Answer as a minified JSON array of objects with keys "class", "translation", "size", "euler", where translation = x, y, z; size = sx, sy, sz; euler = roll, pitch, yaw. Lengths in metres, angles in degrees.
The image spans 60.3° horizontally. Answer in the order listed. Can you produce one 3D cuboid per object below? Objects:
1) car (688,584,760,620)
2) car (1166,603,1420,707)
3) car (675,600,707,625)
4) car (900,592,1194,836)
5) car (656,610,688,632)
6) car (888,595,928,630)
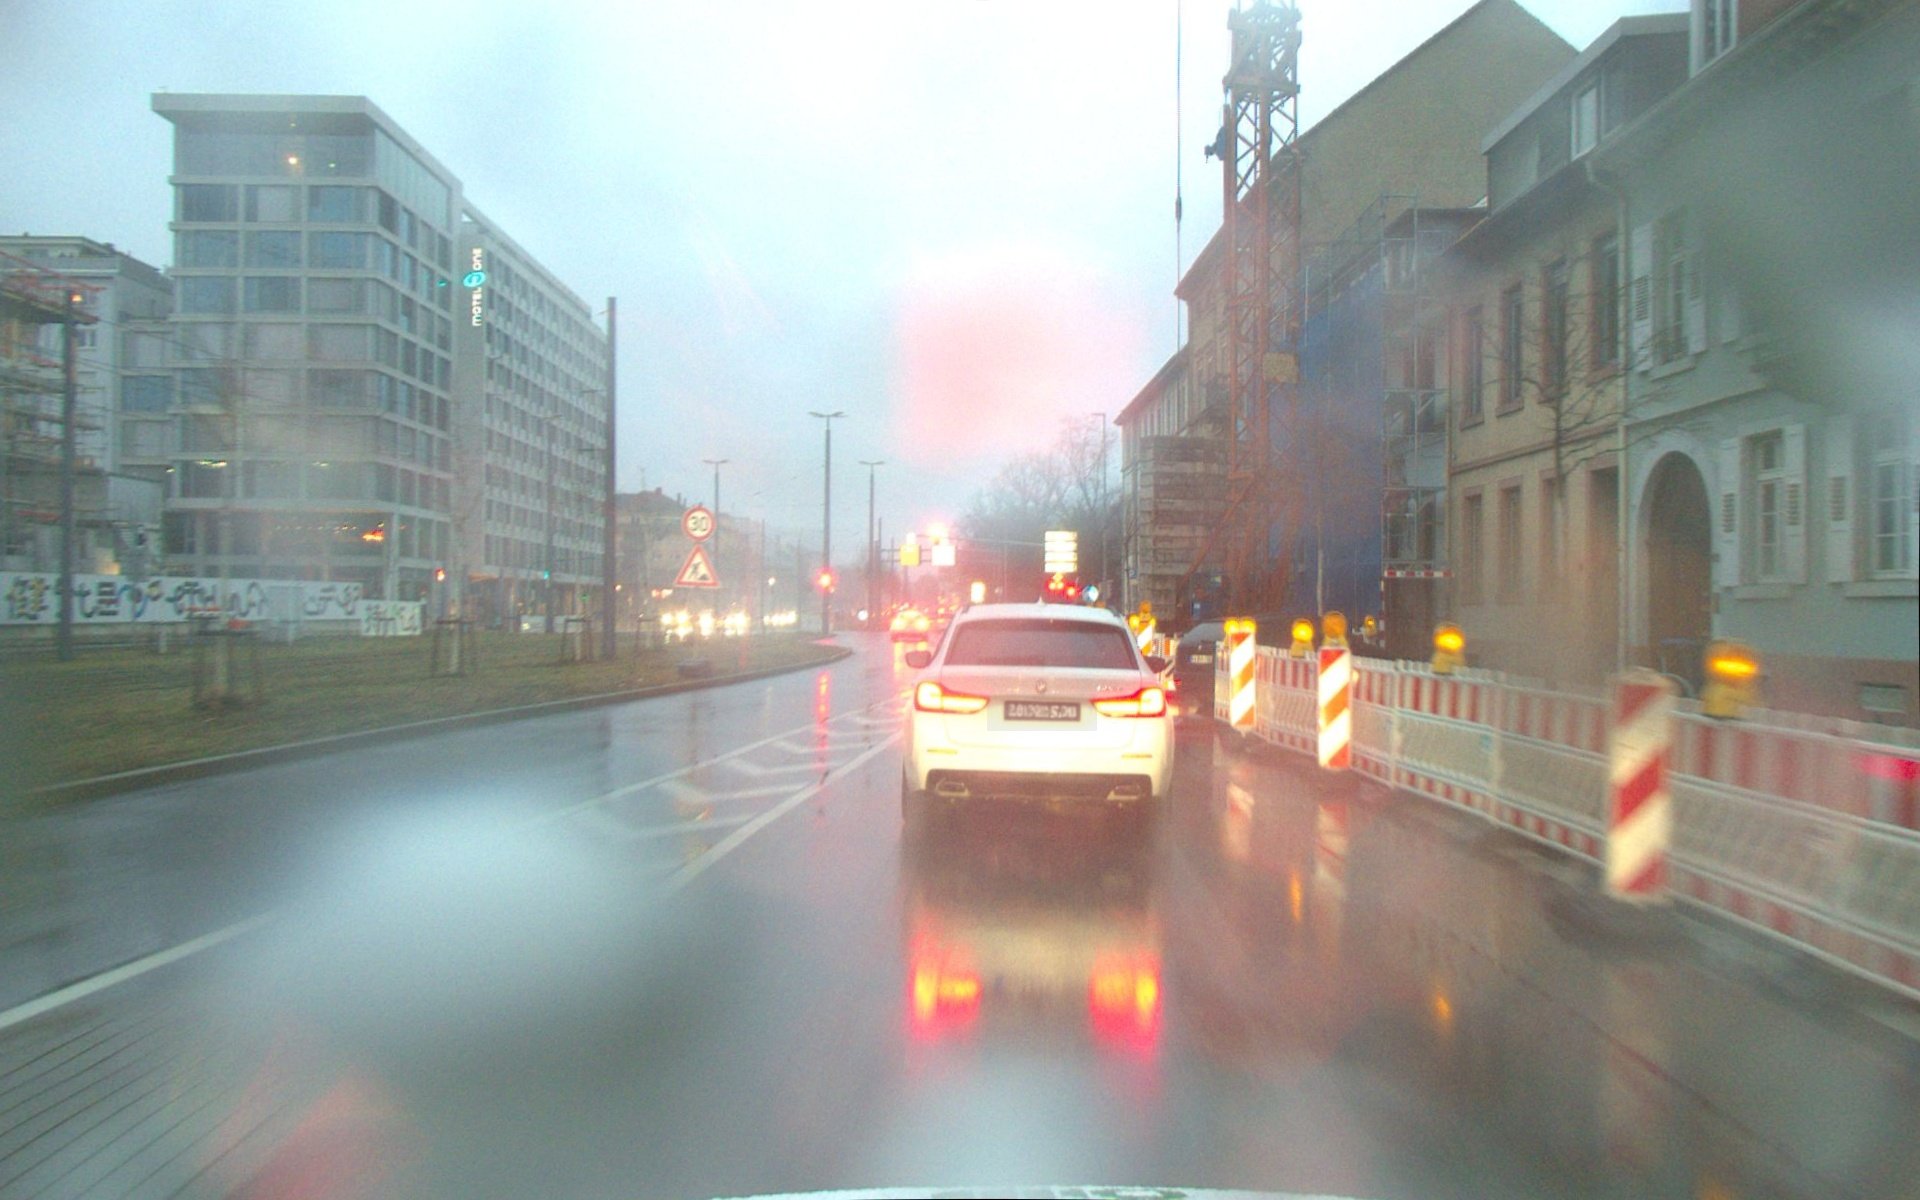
[{"class":"car","translation":[-14.189,0.123,99.316],"size":[3.927,2.010,1.989],"euler":[1,0,-20]},{"class":"car","translation":[5.490,0.880,27.088],"size":[4.051,1.544,1.883],"euler":[1,0,-37]},{"class":"car","translation":[-22.382,1.052,137.655],"size":[1.953,2.049,4.536],"euler":[1,0,-1]},{"class":"car","translation":[0.484,0.719,12.839],"size":[1.814,1.491,4.945],"euler":[1,0,-2]},{"class":"car","translation":[-21.735,1.573,124.772],"size":[1.703,1.518,3.543],"euler":[1,0,1]},{"class":"car","translation":[-2.562,0.621,82.533],"size":[1.862,1.670,3.999],"euler":[1,0,-1]}]
